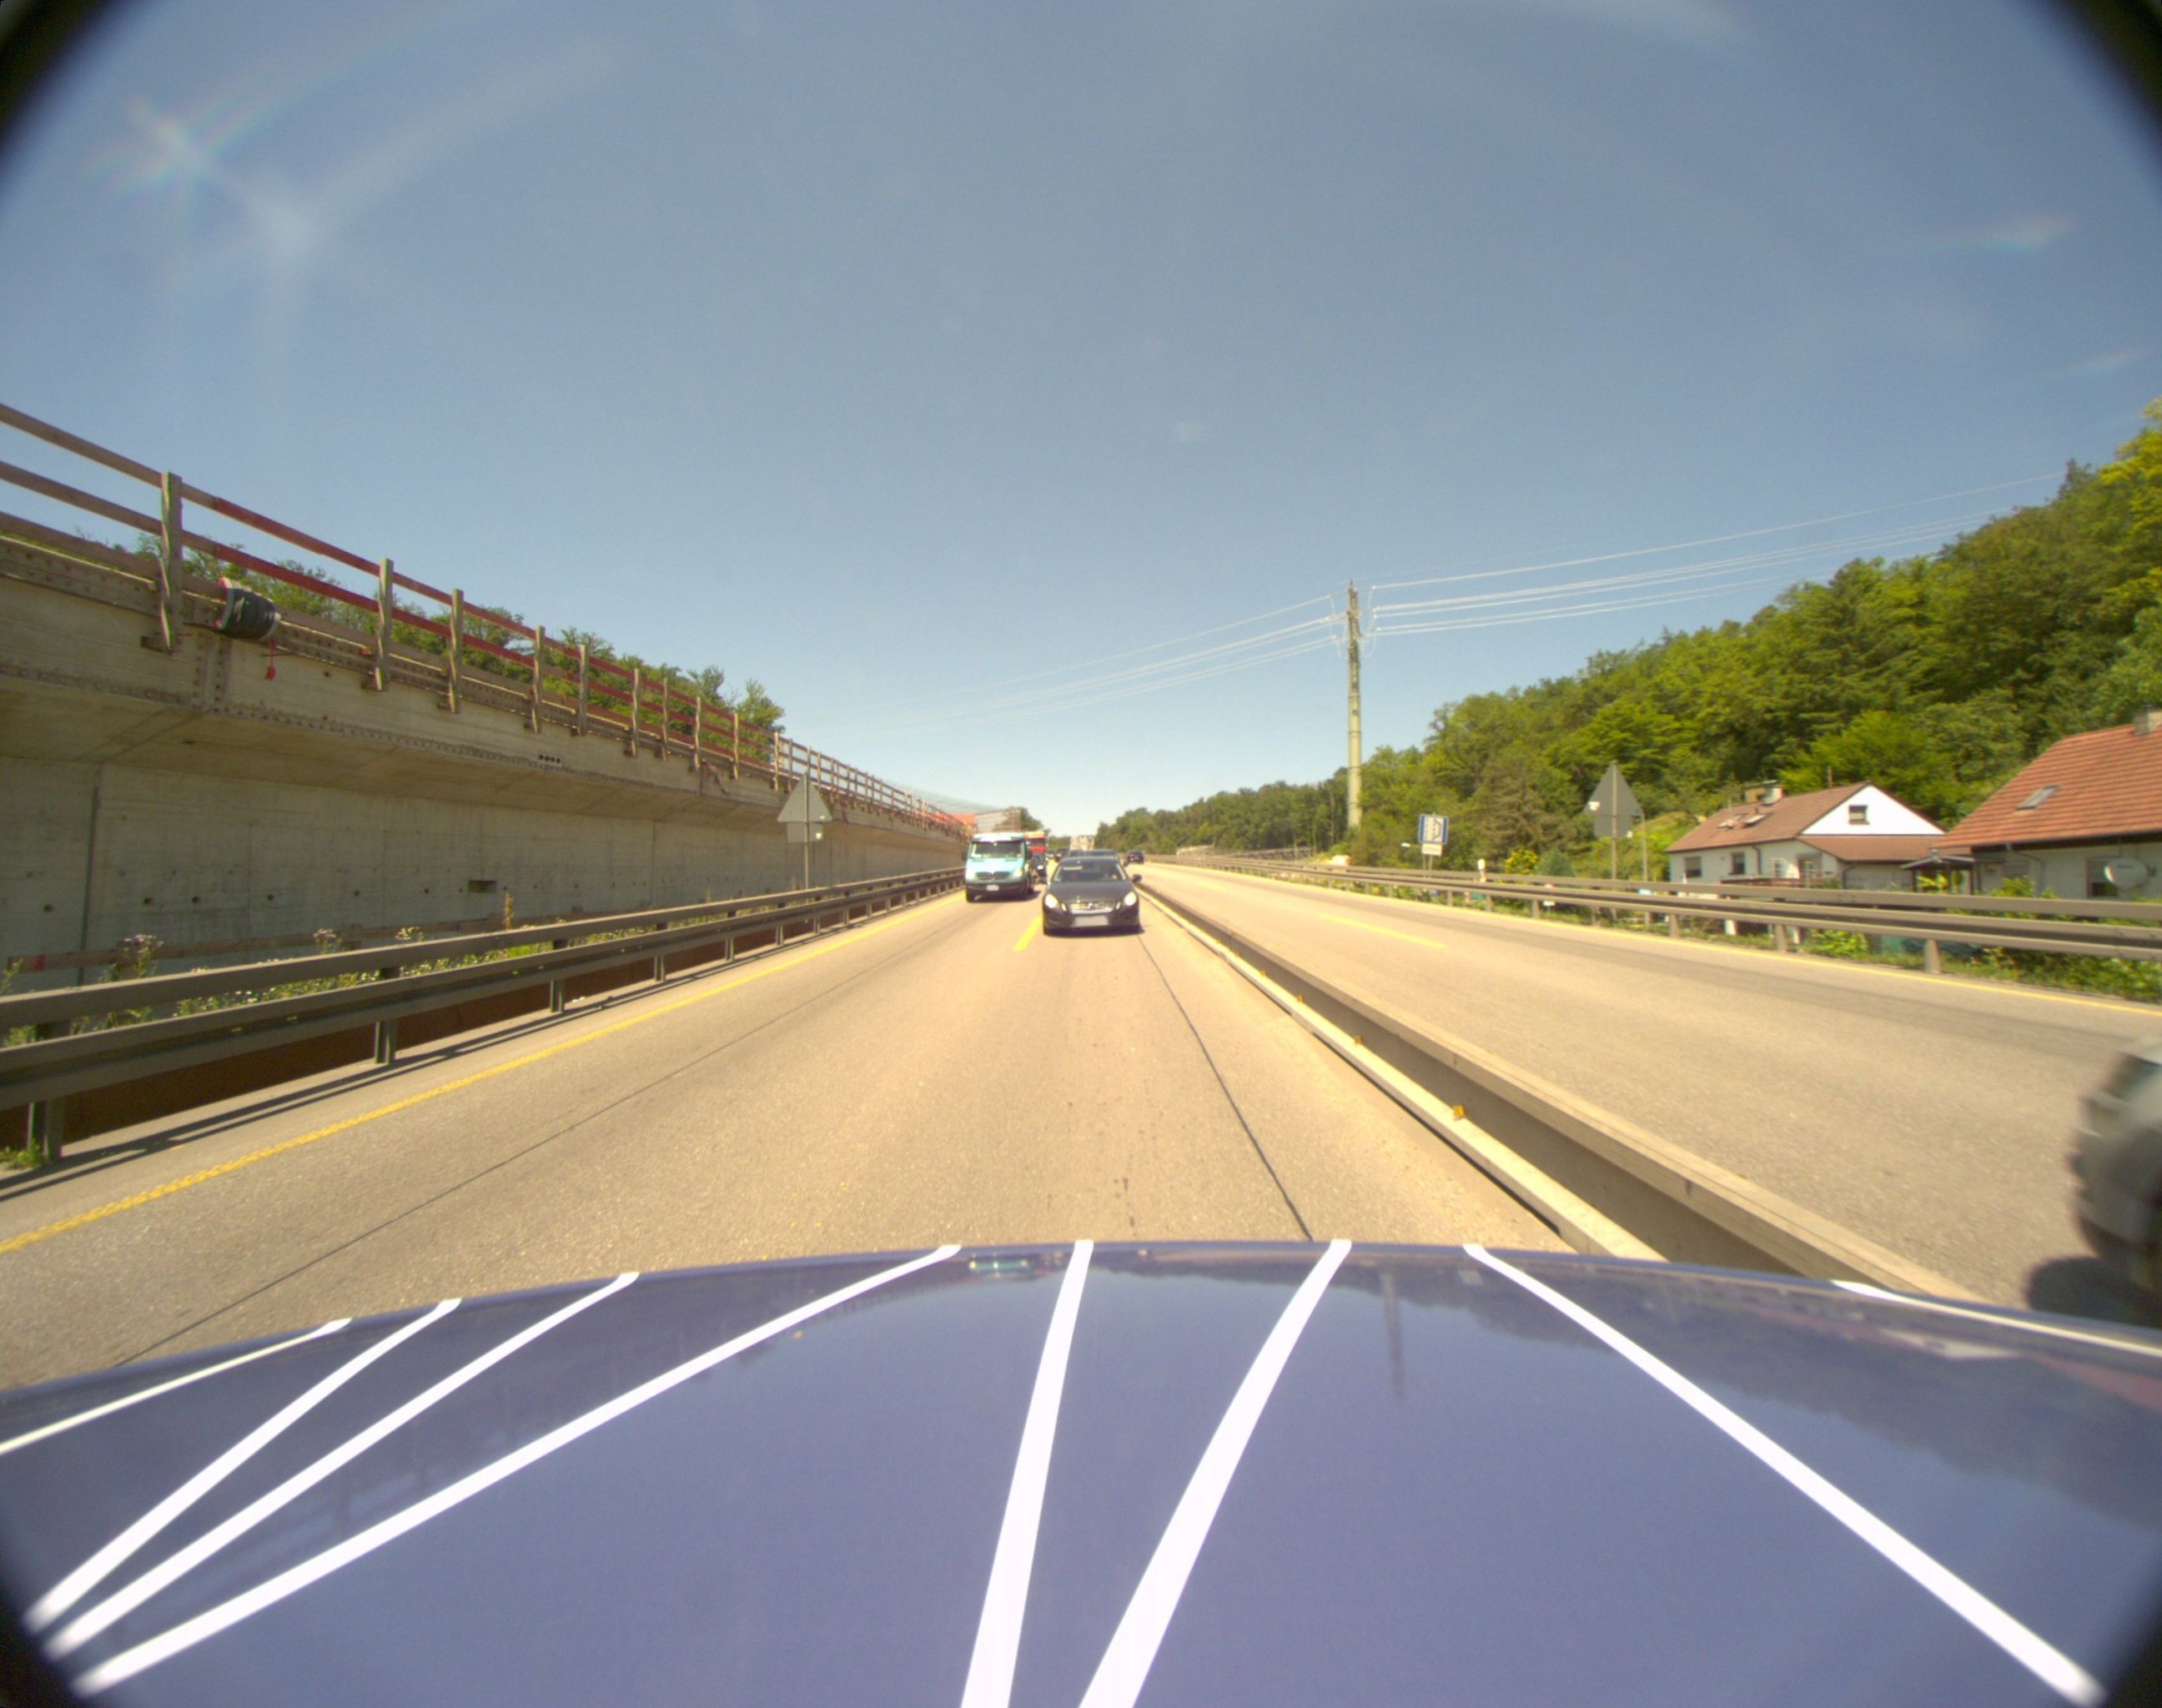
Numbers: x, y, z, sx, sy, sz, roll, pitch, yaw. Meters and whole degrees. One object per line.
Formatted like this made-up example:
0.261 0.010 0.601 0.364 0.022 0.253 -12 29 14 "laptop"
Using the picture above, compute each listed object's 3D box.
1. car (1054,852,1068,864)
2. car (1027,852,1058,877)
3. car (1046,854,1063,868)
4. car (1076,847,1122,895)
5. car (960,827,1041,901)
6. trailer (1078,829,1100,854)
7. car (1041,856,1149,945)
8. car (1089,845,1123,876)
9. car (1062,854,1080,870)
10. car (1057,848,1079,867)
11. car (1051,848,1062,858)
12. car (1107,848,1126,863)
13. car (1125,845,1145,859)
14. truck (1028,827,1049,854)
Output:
-2.404 0.433 94.197 1.586 1.366 3.344 -2 1 0 "car"
-2.392 0.650 48.020 1.739 1.401 3.584 -2 1 -1 "car"
-2.915 0.761 84.392 1.647 1.366 3.344 -2 1 0 "car"
0.624 0.549 27.559 1.520 1.543 3.860 -1 1 0 "car"
-2.700 0.256 27.342 2.217 2.312 6.900 -1 1 -1 "car"
1.404 -2.294 139.507 3.261 4.353 14.052 -2 1 -2 "trailer"
0.122 0.816 15.568 1.844 1.475 4.561 -1 0 -3 "car"
1.362 0.322 42.861 1.736 1.558 3.618 -2 1 -1 "car"
-1.006 0.774 75.797 1.647 1.366 3.343 -2 1 -3 "car"
-0.994 0.279 60.673 1.647 1.366 3.344 -2 1 0 "car"
-3.930 -0.147 121.247 1.586 1.366 3.344 -2 1 0 "car"
3.401 0.114 73.919 1.722 1.400 4.000 0 0 1 "car"
5.701 -0.199 80.797 1.846 1.410 4.685 0 1 0 "car"
-5.904 -1.845 104.530 2.471 3.464 9.862 -2 1 -5 "truck"
